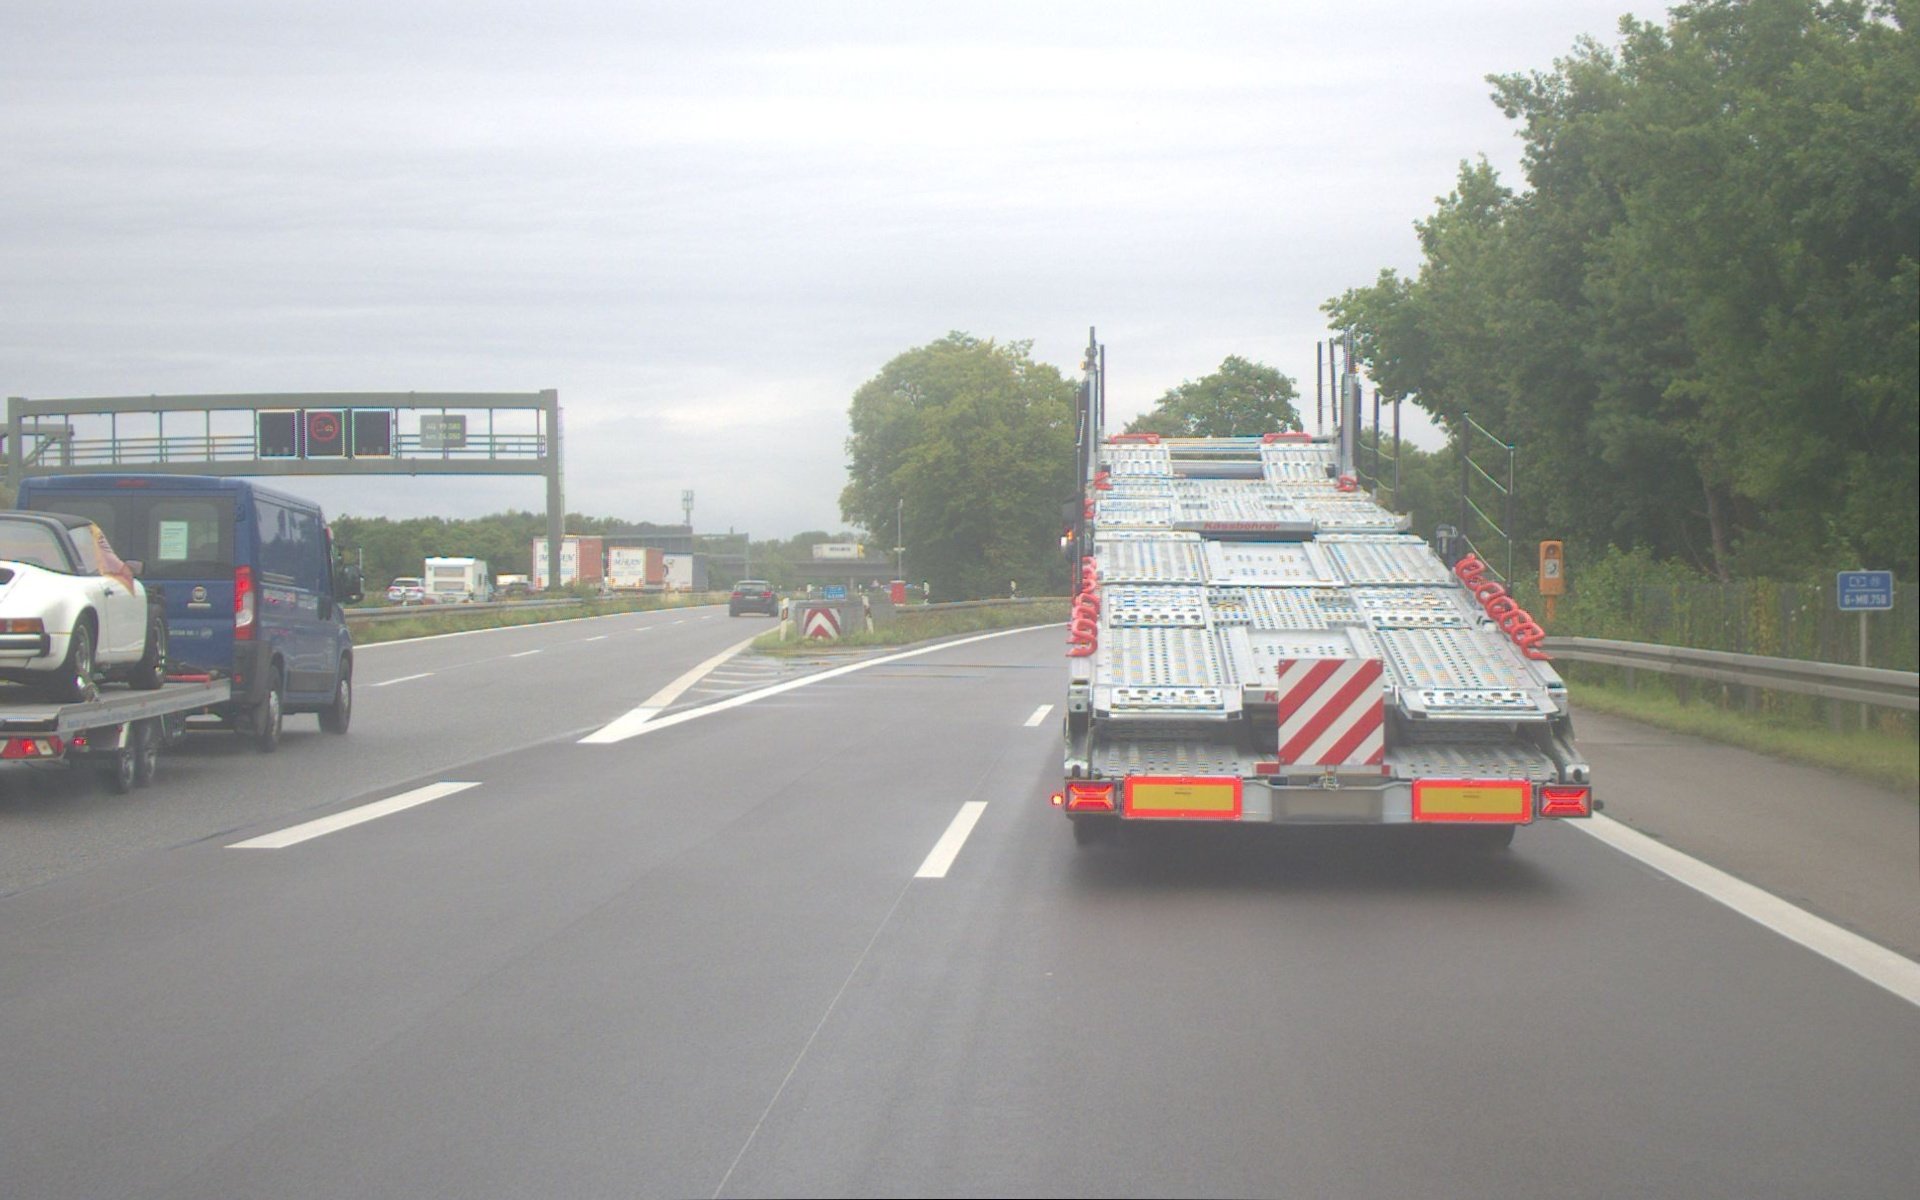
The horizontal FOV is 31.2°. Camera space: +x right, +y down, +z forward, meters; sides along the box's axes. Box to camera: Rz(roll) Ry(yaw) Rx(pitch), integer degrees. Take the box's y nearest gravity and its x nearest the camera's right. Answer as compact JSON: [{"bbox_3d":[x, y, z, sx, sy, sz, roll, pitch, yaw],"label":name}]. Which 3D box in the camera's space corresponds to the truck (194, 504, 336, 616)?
[{"bbox_3d":[-21.657,-1.232,107.564,2.856,3.353,8.631,1,0,-1],"label":"truck"}]

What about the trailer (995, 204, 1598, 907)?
[{"bbox_3d":[1.869,-0.271,21.407,2.778,3.273,10.406,1,1,3],"label":"trailer"}]

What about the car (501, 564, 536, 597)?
[{"bbox_3d":[-27.643,-1.195,215.440,1.729,2.007,4.000,1,0,-1],"label":"car"}]

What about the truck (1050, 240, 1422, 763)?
[{"bbox_3d":[2.346,-0.820,31.170,2.739,3.954,9.128,2,1,3],"label":"truck"}]

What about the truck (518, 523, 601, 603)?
[{"bbox_3d":[-22.875,-2.110,196.878,3.733,4.402,10.196,1,1,-1],"label":"truck"}]

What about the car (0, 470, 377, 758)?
[{"bbox_3d":[-6.841,0.089,30.567,2.372,2.259,6.257,1,0,-1],"label":"car"}]

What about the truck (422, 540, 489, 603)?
[{"bbox_3d":[-22.294,-1.277,151.956,2.243,2.695,5.279,1,0,-1],"label":"truck"}]

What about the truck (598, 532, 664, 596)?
[{"bbox_3d":[-23.370,-2.564,244.598,3.733,4.402,11.897,1,1,-1],"label":"truck"}]

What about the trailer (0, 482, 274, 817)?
[{"bbox_3d":[-6.649,0.253,23.918,2.484,1.988,7.064,1,0,-1],"label":"trailer"}]

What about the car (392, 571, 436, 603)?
[{"bbox_3d":[-26.536,-0.630,167.188,1.682,1.525,4.001,1,0,-4],"label":"car"}]

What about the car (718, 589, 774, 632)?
[{"bbox_3d":[-8.425,0.426,135.908,1.961,1.632,5.625,1,0,-1],"label":"car"}]
